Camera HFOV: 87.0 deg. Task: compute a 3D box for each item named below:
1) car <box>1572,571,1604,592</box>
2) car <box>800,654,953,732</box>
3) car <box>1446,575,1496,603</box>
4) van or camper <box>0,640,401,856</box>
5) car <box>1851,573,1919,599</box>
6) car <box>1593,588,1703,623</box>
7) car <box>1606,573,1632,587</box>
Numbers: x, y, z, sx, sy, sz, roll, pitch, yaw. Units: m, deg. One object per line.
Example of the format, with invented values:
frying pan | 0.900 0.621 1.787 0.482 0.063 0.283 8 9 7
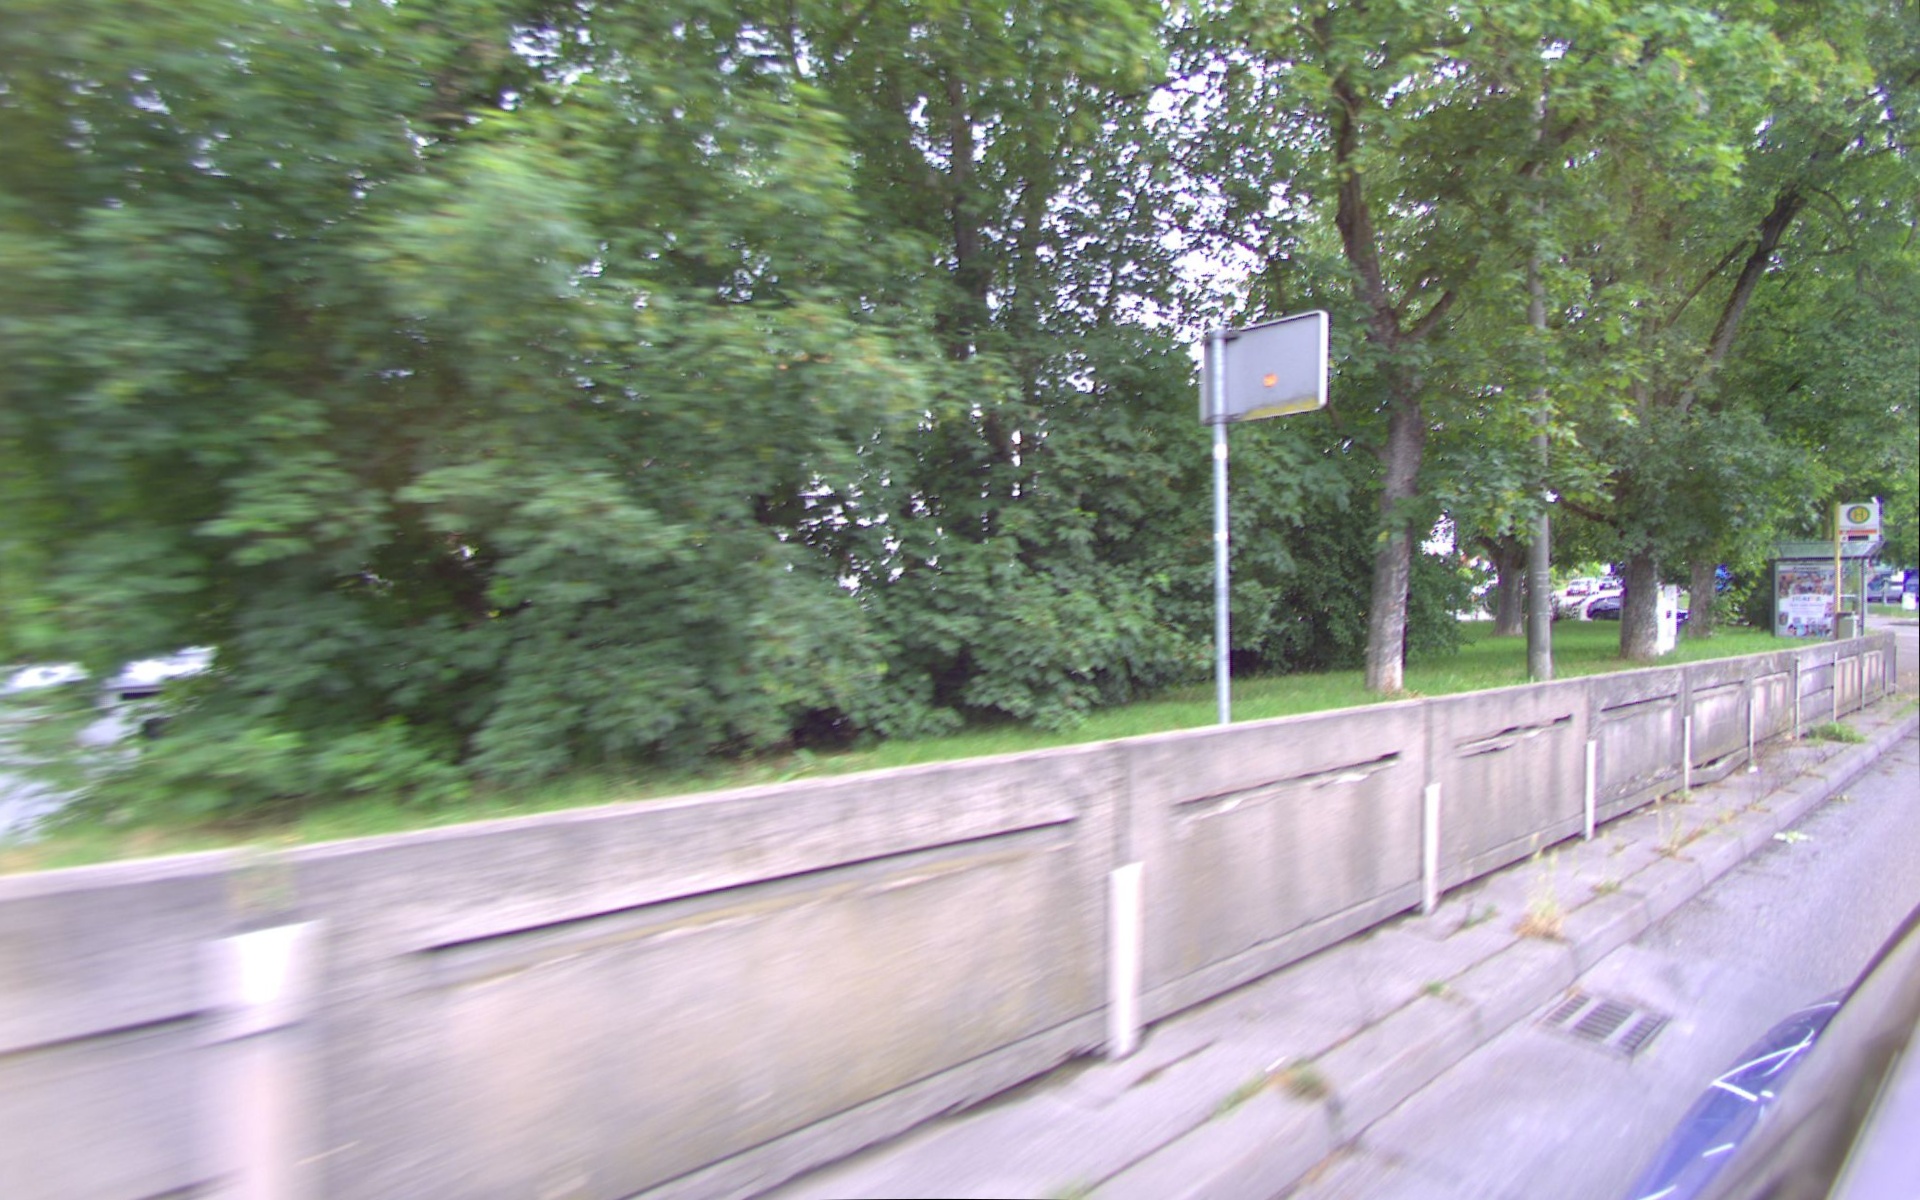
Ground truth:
car | 58.595 -1.771 94.414 1.938 1.866 4.193 -2 0 39
car | -1.776 1.988 22.343 1.414 1.342 3.401 -2 0 38
car | 36.771 -0.793 72.797 4.333 1.866 1.719 -2 0 -42
van or camper | -10.221 1.659 12.147 2.174 2.039 5.757 -2 0 40
car | 64.560 -0.967 69.922 4.183 1.718 1.819 2 2 33
car | 33.820 0.211 49.862 1.671 1.544 4.169 -2 2 -32
car | 73.178 -2.199 112.345 1.990 1.483 3.943 -2 0 40
